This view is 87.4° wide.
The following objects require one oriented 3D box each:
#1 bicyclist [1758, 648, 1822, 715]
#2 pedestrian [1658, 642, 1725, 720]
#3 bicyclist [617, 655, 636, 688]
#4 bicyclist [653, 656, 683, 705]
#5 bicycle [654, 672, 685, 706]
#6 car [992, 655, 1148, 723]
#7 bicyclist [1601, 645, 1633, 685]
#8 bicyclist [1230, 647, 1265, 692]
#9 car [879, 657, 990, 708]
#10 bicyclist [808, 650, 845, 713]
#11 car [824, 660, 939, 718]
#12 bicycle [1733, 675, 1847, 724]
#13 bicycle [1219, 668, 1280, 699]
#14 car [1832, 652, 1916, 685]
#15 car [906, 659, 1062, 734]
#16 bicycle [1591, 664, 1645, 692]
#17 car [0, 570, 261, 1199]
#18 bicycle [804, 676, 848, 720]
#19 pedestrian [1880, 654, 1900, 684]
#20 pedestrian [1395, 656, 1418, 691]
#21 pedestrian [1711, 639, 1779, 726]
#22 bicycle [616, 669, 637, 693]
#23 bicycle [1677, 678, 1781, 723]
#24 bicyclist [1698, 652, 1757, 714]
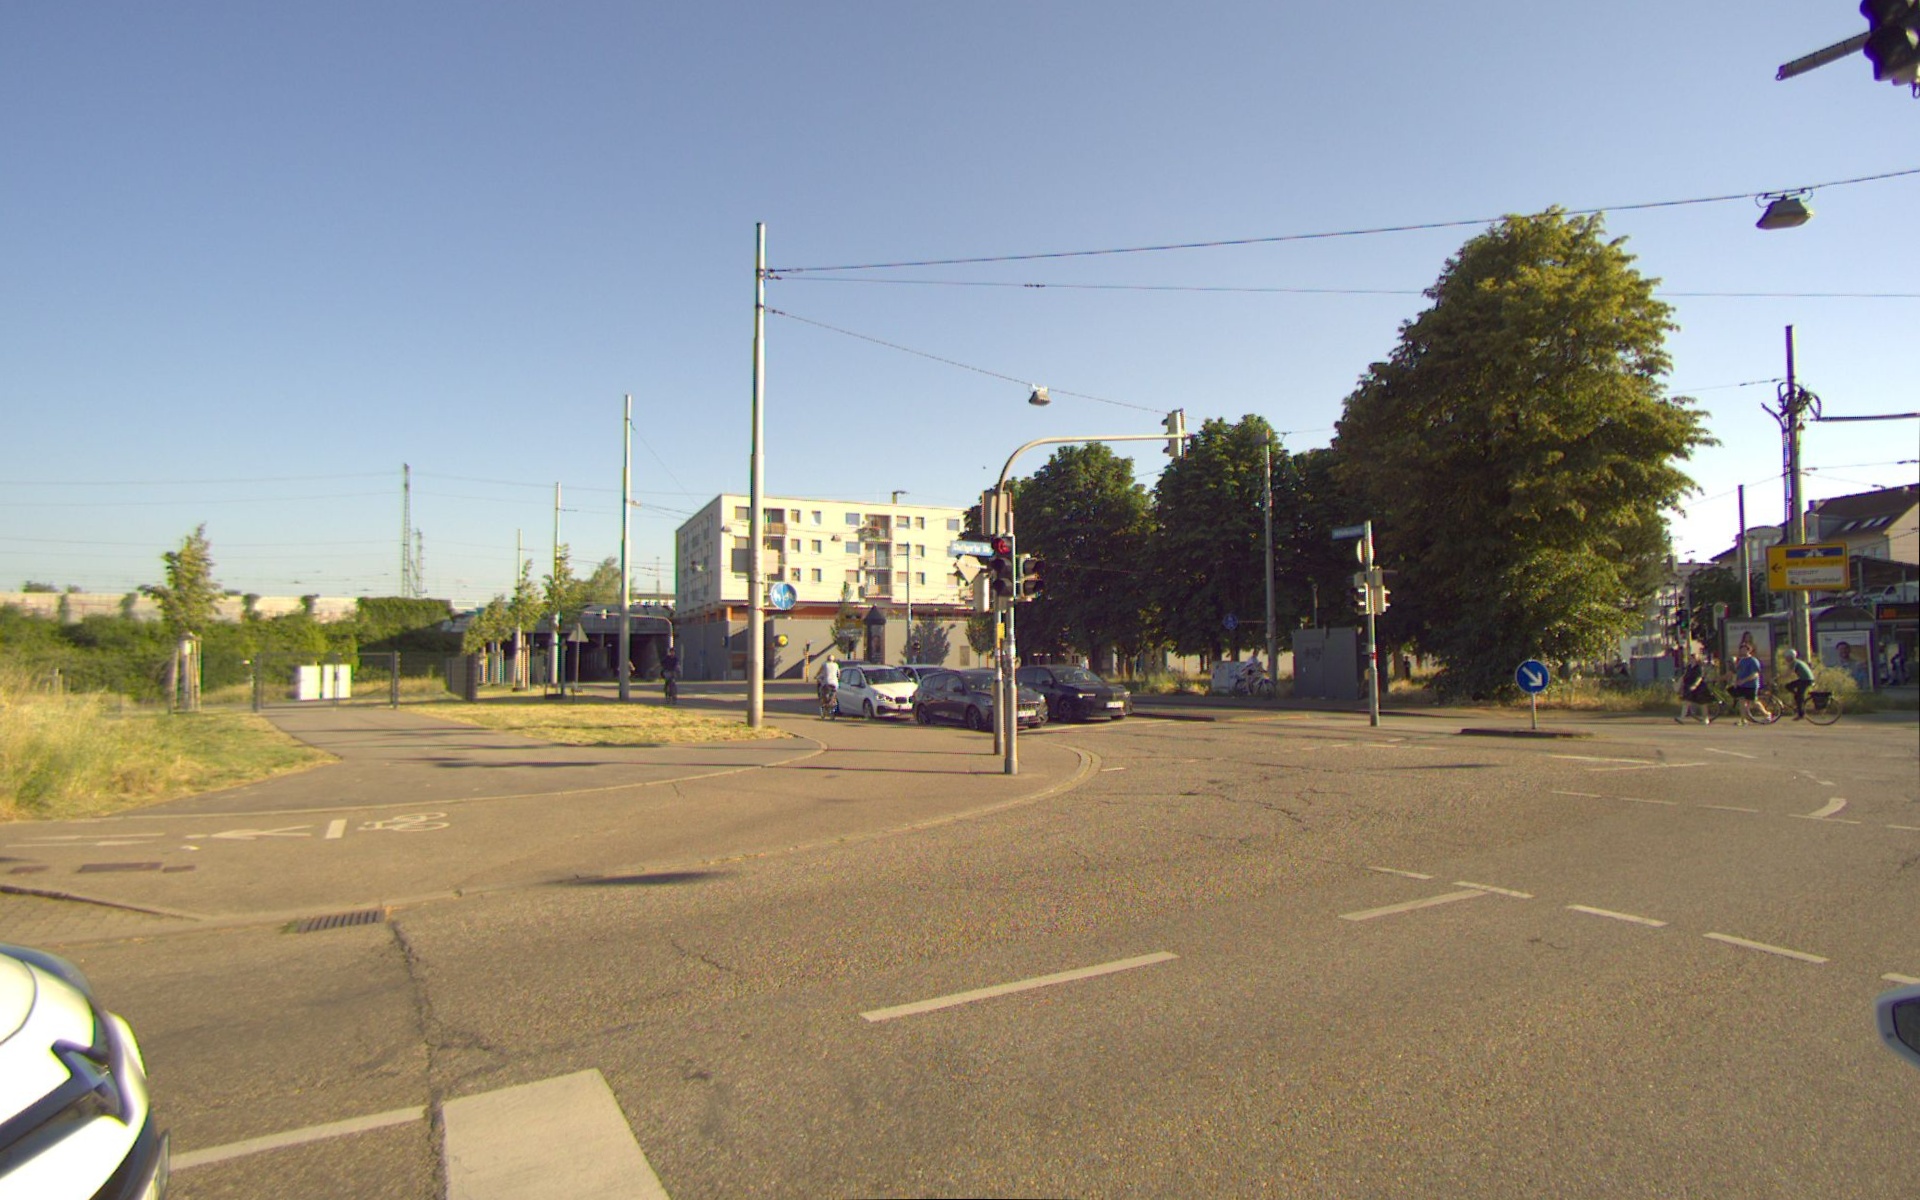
[{"bbox_3d":[19.732,1.926,23.897,0.693,1.552,1.025,2,-4,-41],"label":"bicyclist"},{"bbox_3d":[17.150,1.888,23.558,1.057,1.769,0.906,2,-4,-35],"label":"pedestrian"},{"bbox_3d":[-16.485,3.523,49.608,0.840,1.567,1.017,1,-4,-21],"label":"bicyclist"},{"bbox_3d":[-10.006,2.748,34.414,0.866,1.646,0.967,1,-3,-24],"label":"bicyclist"},{"bbox_3d":[-9.962,3.026,34.415,0.744,1.107,1.937,1,-4,-25],"label":"bicycle"},{"bbox_3d":[2.767,2.275,26.405,2.027,1.587,4.423,1,-4,-26],"label":"car"},{"bbox_3d":[27.933,2.769,42.706,0.870,1.673,0.670,0,-3,-8],"label":"bicyclist"},{"bbox_3d":[10.884,2.625,38.027,0.707,1.650,1.030,2,-4,-39],"label":"bicyclist"},{"bbox_3d":[-0.944,2.721,33.651,1.975,1.587,4.426,1,-4,-27],"label":"car"},{"bbox_3d":[-3.501,2.118,26.306,0.766,1.626,0.853,1,-3,-23],"label":"bicyclist"},{"bbox_3d":[-2.433,2.606,30.041,1.975,1.587,4.246,1,-4,-27],"label":"car"},{"bbox_3d":[19.716,2.349,23.897,0.658,1.083,1.995,2,-4,-41],"label":"bicycle"},{"bbox_3d":[10.911,3.140,37.958,0.695,1.157,2.176,2,-4,-40],"label":"bicycle"},{"bbox_3d":[59.348,4.432,65.343,2.017,1.987,5.153,-4,-4,19],"label":"car"},{"bbox_3d":[0.479,2.267,24.359,1.975,1.587,4.246,0,-3,-27],"label":"car"},{"bbox_3d":[27.924,3.304,42.651,1.983,1.083,0.662,2,0,-10],"label":"bicycle"},{"bbox_3d":[-3.065,0.712,1.005,3.733,1.488,1.692,2,-4,-32],"label":"car"},{"bbox_3d":[-3.530,2.534,26.239,0.654,1.083,2.009,1,-4,-22],"label":"bicycle"},{"bbox_3d":[47.921,3.544,51.769,0.558,1.520,0.677,-2,-4,32],"label":"pedestrian"},{"bbox_3d":[24.321,3.985,54.732,0.676,1.896,0.942,0,-3,-15],"label":"pedestrian"},{"bbox_3d":[18.319,1.907,23.445,1.057,1.950,0.906,2,-4,-35],"label":"pedestrian"},{"bbox_3d":[-16.459,3.974,49.539,0.782,1.164,2.280,1,-4,-23],"label":"bicycle"},{"bbox_3d":[19.560,2.532,25.588,0.658,1.083,1.996,2,-4,-39],"label":"bicycle"},{"bbox_3d":[19.542,2.105,25.595,0.655,1.552,1.026,2,-4,-39],"label":"bicyclist"}]
